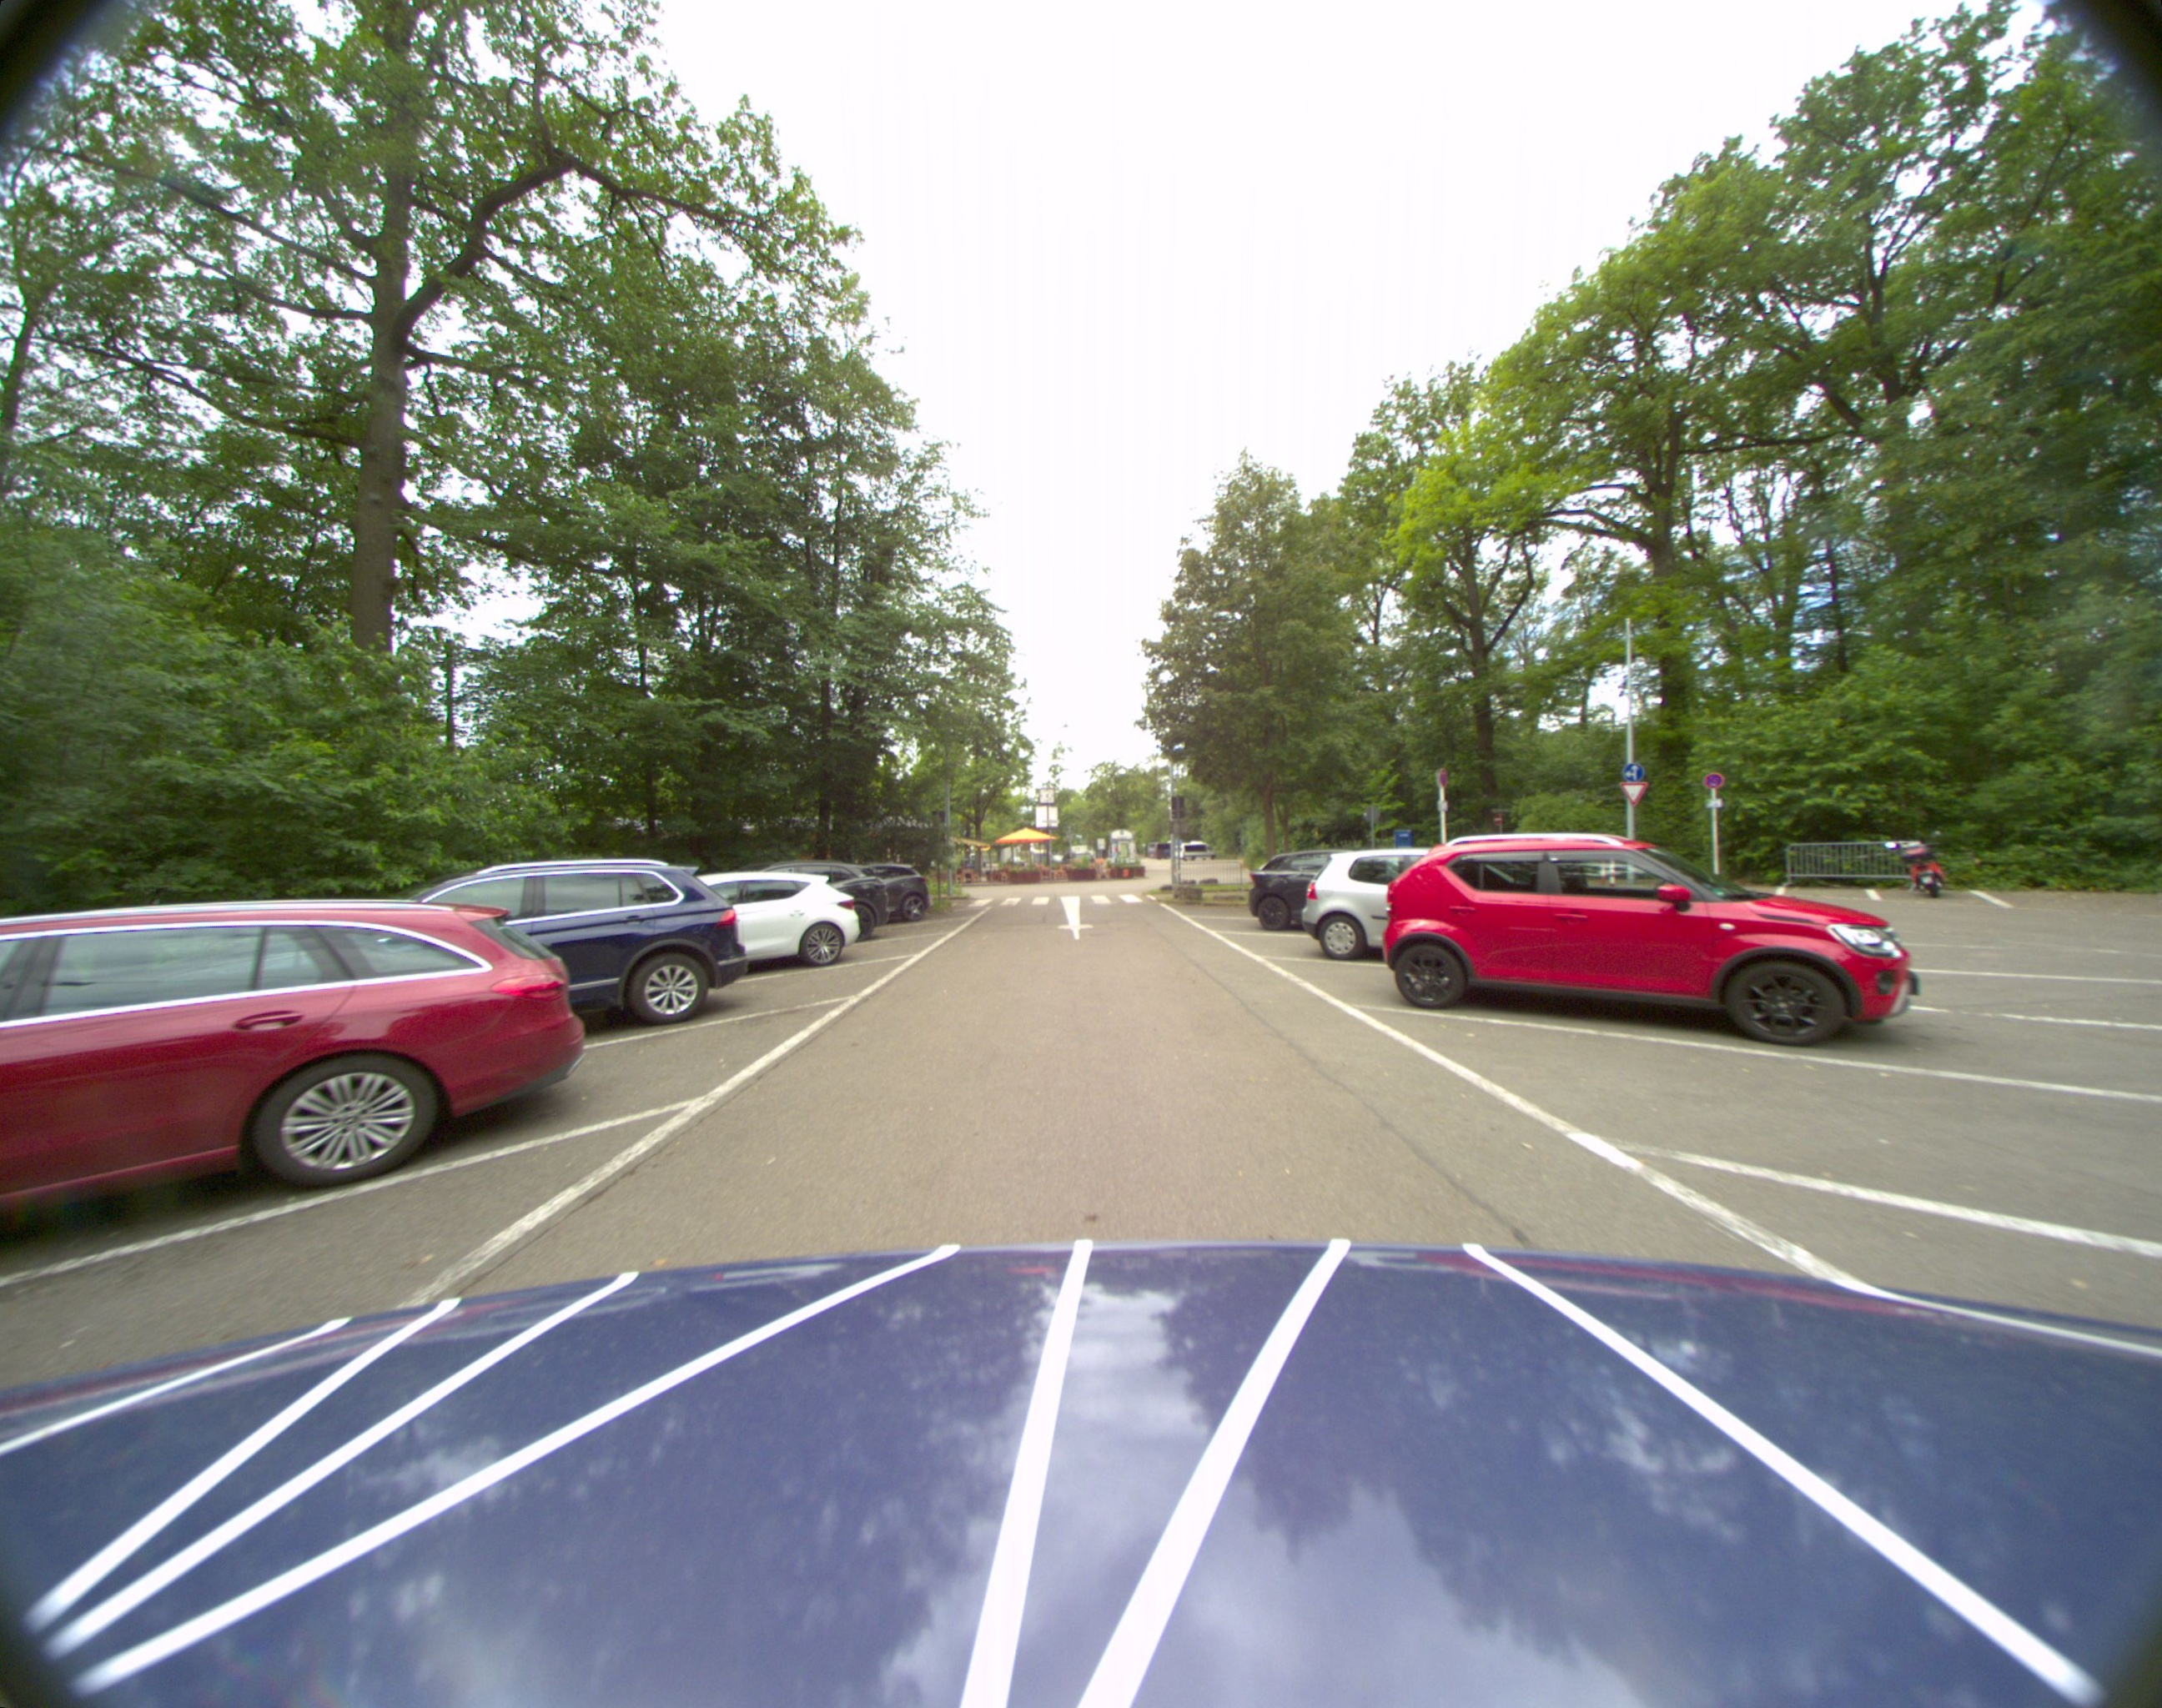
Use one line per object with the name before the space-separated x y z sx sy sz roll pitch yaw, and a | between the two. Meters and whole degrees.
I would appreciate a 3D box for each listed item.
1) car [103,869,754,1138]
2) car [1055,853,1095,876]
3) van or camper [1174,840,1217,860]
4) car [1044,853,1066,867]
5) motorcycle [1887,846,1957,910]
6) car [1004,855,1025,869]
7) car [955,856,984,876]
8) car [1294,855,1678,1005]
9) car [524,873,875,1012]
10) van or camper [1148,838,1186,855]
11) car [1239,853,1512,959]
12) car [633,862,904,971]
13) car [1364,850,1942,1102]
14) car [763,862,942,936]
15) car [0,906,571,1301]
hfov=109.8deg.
car | -5.539 1.042 7.111 4.127 1.608 1.837 -2 1 -42
car | -0.503 0.797 58.423 1.937 1.660 4.339 -2 0 -16
van or camper | 17.675 -0.586 116.964 7.354 2.833 2.063 -2 1 -40
car | -3.602 0.819 104.207 1.879 1.769 4.289 -2 0 -17
motorcycle | 17.559 0.474 15.857 2.033 1.201 0.729 -2 1 -35
car | -8.971 1.089 102.339 1.879 1.769 4.289 -2 0 -17
car | -9.362 0.962 63.703 2.001 1.543 3.995 -2 0 -14
car | 5.048 0.816 9.768 3.989 1.475 1.880 -2 1 42
car | -5.346 1.095 10.976 4.127 1.430 1.864 -2 1 -42
van or camper | 15.902 -1.427 140.807 7.353 2.833 2.198 -2 1 -36
car | 5.058 0.815 13.444 1.834 1.514 4.089 -3 1 -43
car | -5.691 1.029 14.220 1.952 1.571 4.211 -2 1 43
car | 4.639 0.812 6.656 3.644 1.576 1.690 -2 0 42
car | -5.485 1.016 18.536 1.695 1.483 3.799 -2 1 44
car | -5.220 1.149 3.686 4.304 1.405 1.923 -2 1 -41
